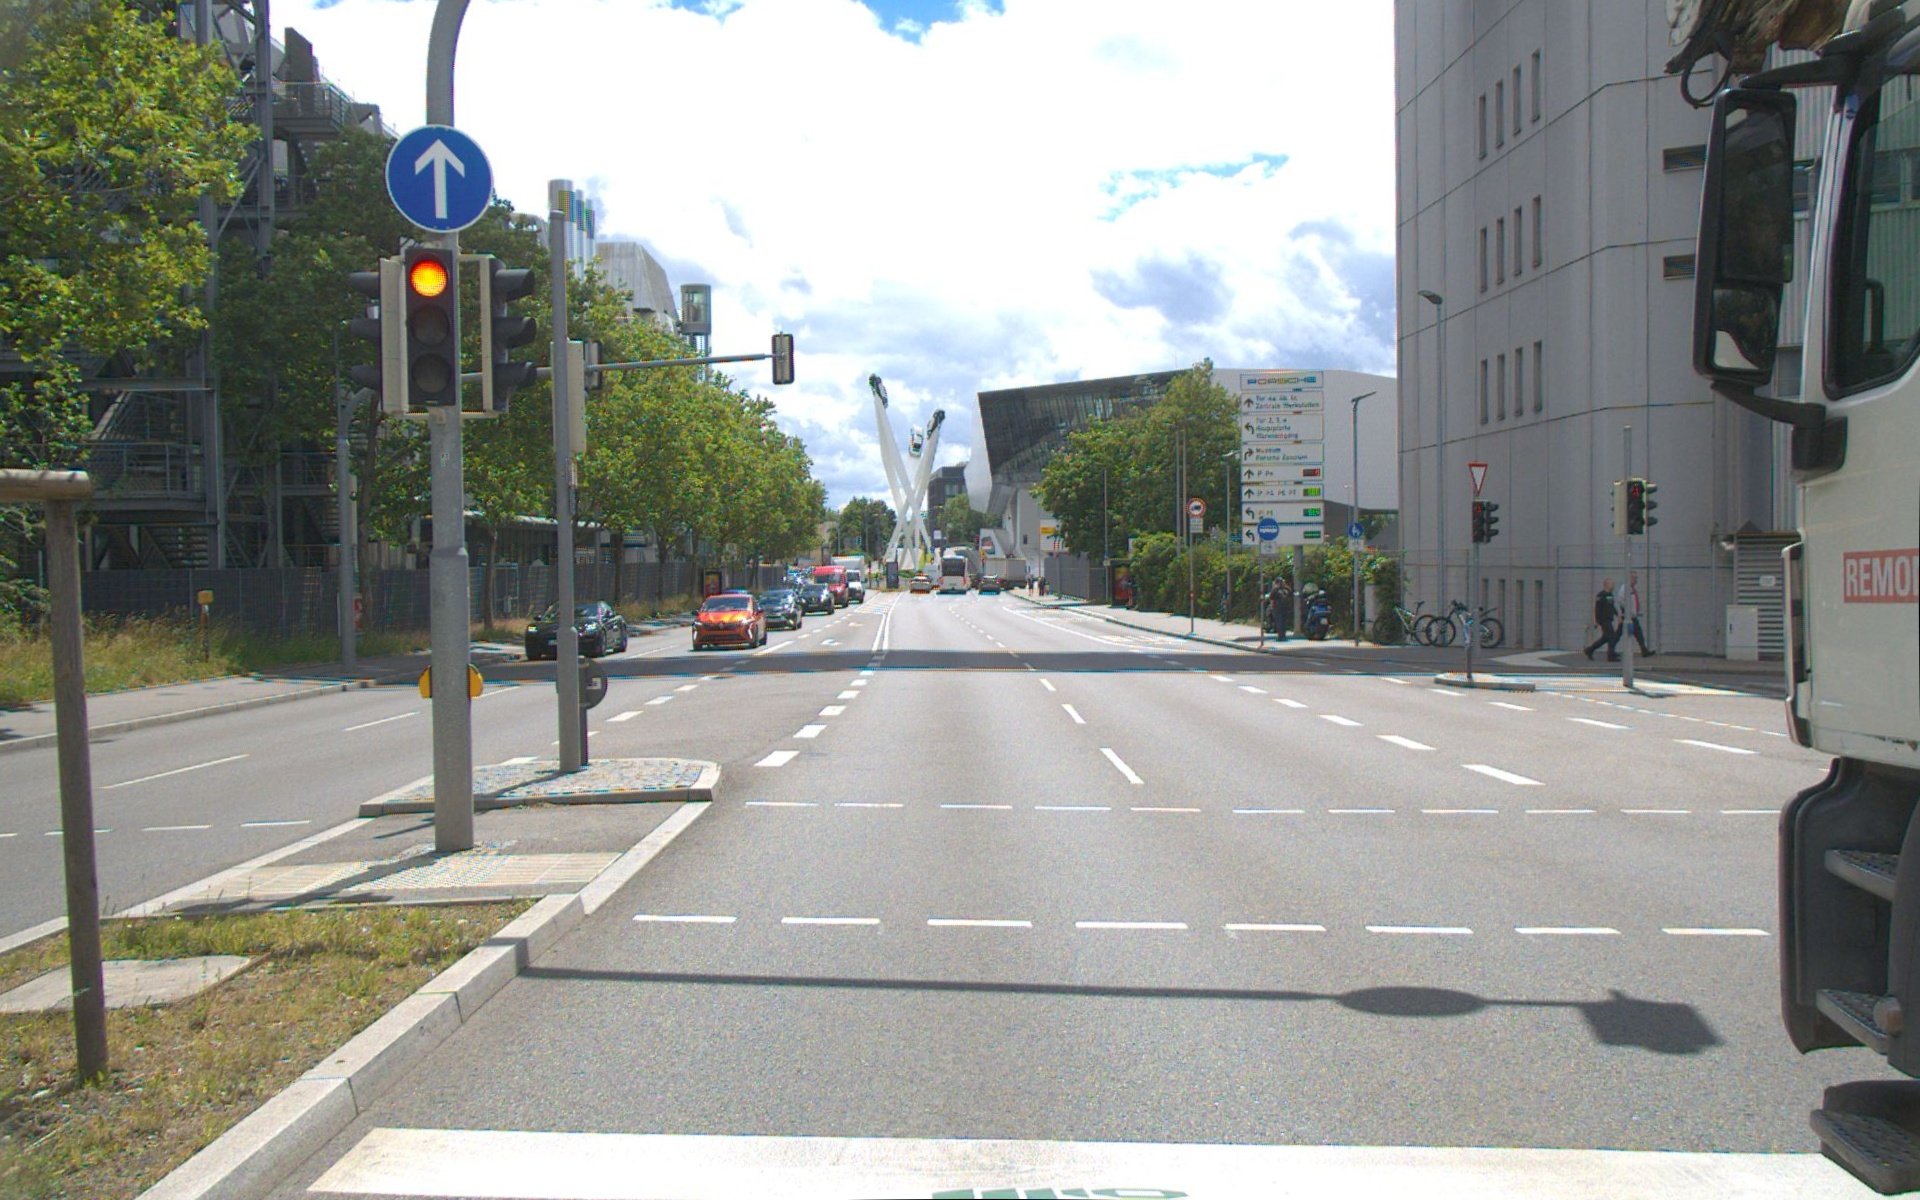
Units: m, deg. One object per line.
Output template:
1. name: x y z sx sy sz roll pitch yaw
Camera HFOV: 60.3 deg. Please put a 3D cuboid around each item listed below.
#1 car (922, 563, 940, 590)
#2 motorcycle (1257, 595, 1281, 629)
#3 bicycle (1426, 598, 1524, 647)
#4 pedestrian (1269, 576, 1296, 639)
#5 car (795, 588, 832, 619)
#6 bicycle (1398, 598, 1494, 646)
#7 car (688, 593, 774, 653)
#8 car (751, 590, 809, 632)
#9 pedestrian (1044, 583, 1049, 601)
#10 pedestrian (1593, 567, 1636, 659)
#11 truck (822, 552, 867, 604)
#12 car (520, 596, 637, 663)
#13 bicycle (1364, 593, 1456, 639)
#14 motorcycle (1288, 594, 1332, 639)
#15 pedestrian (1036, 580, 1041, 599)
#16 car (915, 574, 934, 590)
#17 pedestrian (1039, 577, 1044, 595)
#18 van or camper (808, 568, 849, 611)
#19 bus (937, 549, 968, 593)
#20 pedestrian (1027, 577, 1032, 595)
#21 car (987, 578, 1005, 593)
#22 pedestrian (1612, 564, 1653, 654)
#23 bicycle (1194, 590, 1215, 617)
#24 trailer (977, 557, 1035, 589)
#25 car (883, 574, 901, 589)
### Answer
1. car: -3.006 -2.402 171.144 1.806 2.669 3.999 1 0 -1
2. motorcycle: 9.736 0.369 52.145 0.448 1.040 1.913 1 0 1
3. bicycle: 12.079 0.529 38.864 2.149 1.105 0.475 1 -1 35
4. pedestrian: 8.754 0.202 44.944 0.523 1.669 0.657 1 -1 -6
5. car: -7.497 0.180 85.014 1.525 1.473 3.772 -2 0 0
6. bicycle: 11.672 0.526 39.758 2.180 1.105 0.475 1 -1 35
7. car: -6.150 0.588 44.754 1.733 1.445 3.701 -2 0 0
8. car: -6.684 0.380 61.764 1.733 1.445 3.701 -2 0 0
9. pedestrian: 6.983 -0.669 133.001 0.378 1.446 0.423 1 -1 0
10. pedestrian: 13.346 0.251 33.736 0.695 1.825 0.643 -2 1 17
11. truck: -7.814 -1.457 112.488 2.538 3.382 7.078 1 0 0
12. car: -9.780 0.714 42.778 1.878 1.514 4.772 -2 0 0
13. bicycle: 11.150 0.383 41.029 2.180 1.105 0.475 1 -1 35
14. motorcycle: 9.545 0.450 45.158 0.410 1.186 1.951 1 0 -11
15. pedestrian: 6.317 -0.847 133.025 0.378 1.446 0.423 1 -1 0
16. car: -3.169 -1.612 148.662 1.525 1.295 3.701 -2 0 1
17. pedestrian: 6.723 -1.140 135.949 0.378 1.446 0.423 1 -1 0
18. van or camper: -7.944 -0.654 100.360 2.005 2.509 5.594 0 0 0
19. bus: -0.670 -2.597 150.175 2.730 3.750 6.942 1 0 0
20. pedestrian: 5.708 -1.151 136.253 0.378 1.446 0.423 1 -1 0
21. car: 3.165 -1.298 146.153 1.525 1.295 3.701 -2 0 1
22. pedestrian: 13.997 0.177 34.438 0.695 1.825 0.693 -2 1 25
23. bicycle: 9.665 0.155 65.405 0.410 1.040 1.910 1 0 -5
24. trailer: 4.853 -2.782 172.215 3.250 3.047 10.380 1 0 18
25. car: -6.406 -1.738 155.584 1.525 1.295 3.701 -2 0 0
